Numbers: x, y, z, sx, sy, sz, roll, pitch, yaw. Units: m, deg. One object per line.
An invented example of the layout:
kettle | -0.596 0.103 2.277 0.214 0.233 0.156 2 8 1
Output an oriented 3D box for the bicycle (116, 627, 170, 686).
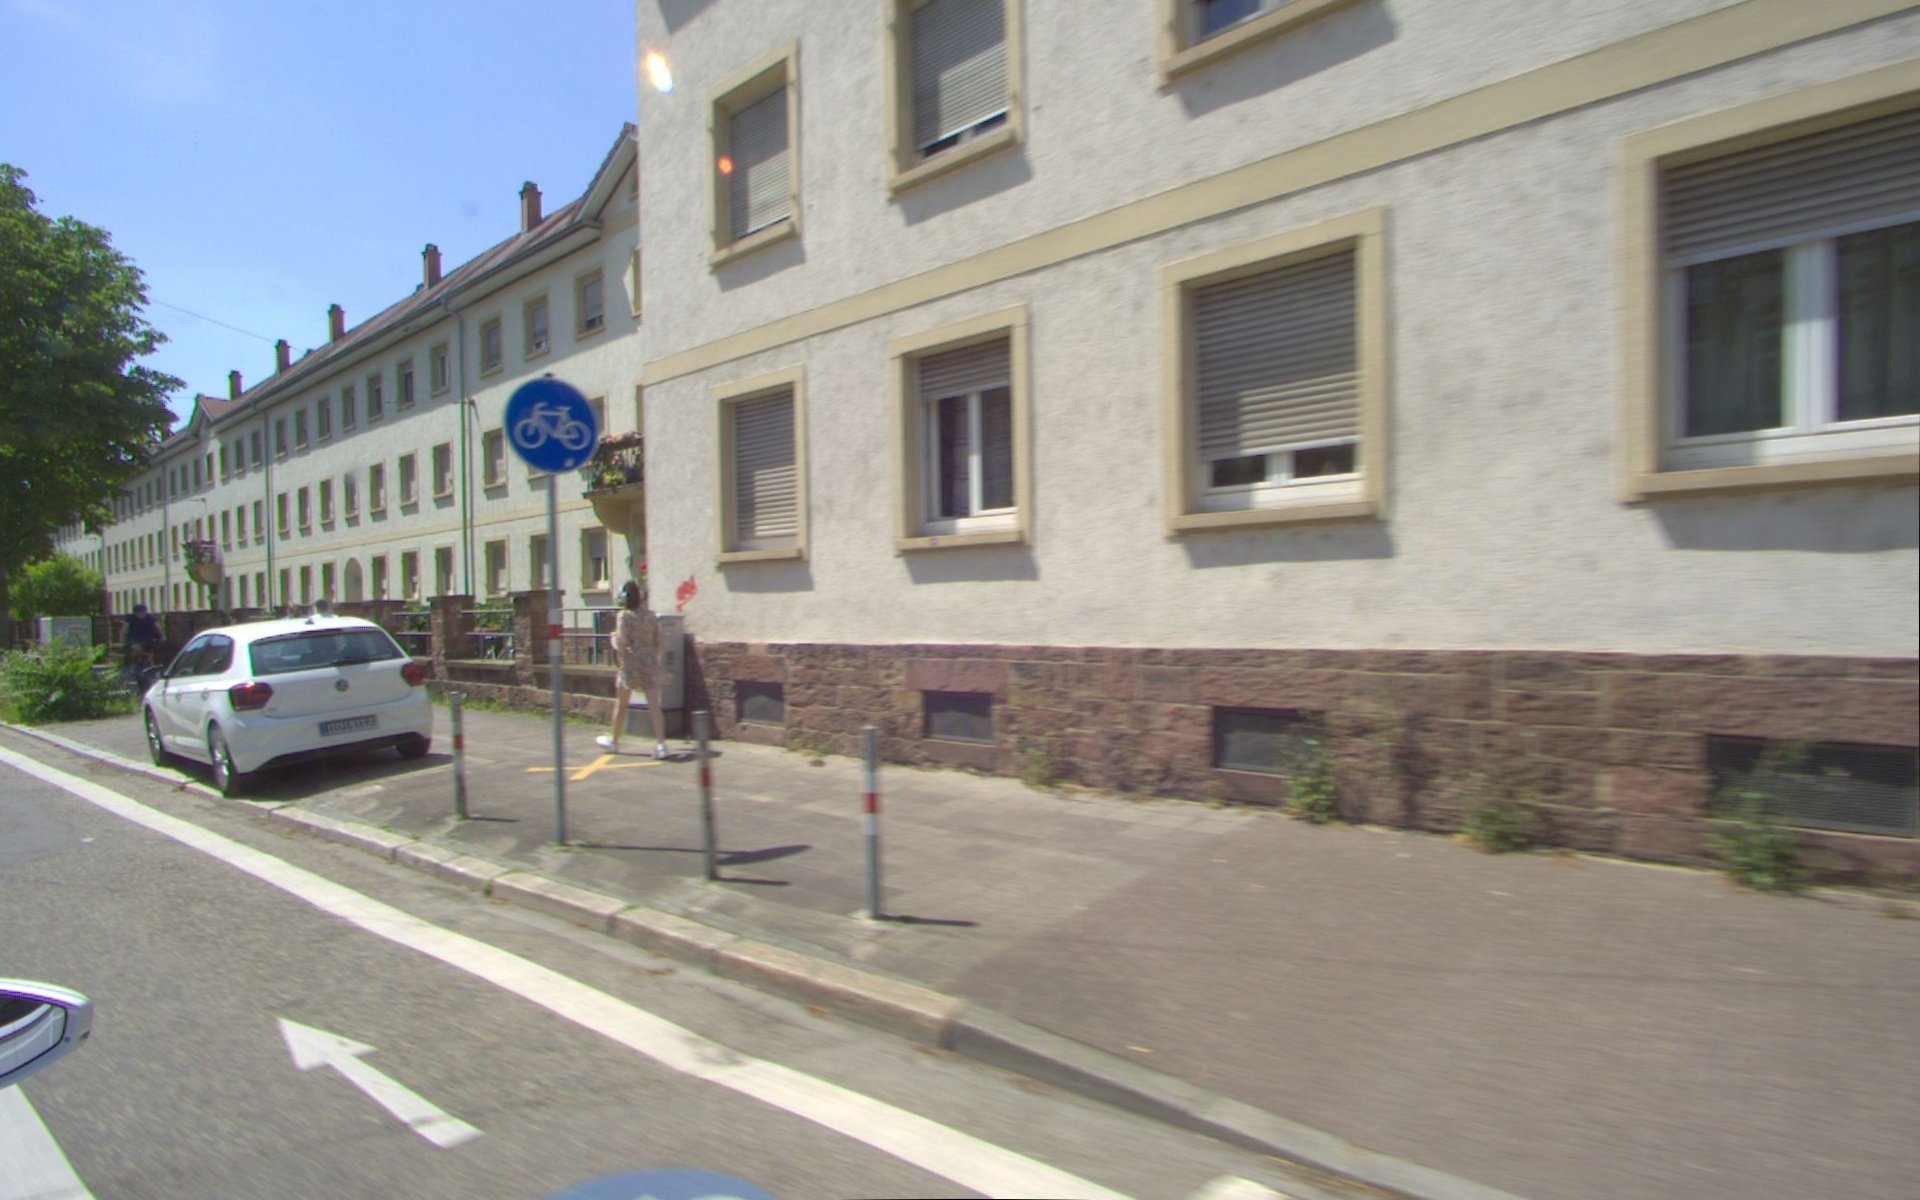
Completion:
bicycle | -15.823 1.072 19.382 1.803 1.065 0.598 -1 0 44

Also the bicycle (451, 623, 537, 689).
bicycle | -8.119 0.949 17.422 1.840 1.077 0.525 0 1 36

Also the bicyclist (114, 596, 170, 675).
bicyclist | -15.842 0.674 19.393 0.999 1.471 0.707 0 1 44

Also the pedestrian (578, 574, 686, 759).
pedestrian | -3.168 0.616 9.681 0.747 1.692 0.694 0 0 40

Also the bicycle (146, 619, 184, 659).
bicycle | -26.146 1.257 32.916 1.947 1.226 0.593 0 3 42

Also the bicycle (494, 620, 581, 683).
bicycle | -7.639 0.906 18.083 1.818 1.077 0.594 0 1 36

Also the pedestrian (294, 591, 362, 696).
pedestrian | -10.706 0.718 16.970 0.747 1.692 0.693 0 3 40

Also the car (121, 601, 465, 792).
car | -6.889 0.817 10.178 4.108 1.430 1.767 -1 4 41

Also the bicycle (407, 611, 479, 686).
bicycle | -8.772 0.792 16.960 0.593 1.191 1.735 -1 1 -45

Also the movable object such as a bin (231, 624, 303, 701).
movable object such as a bin | -11.612 1.022 16.781 1.024 1.202 0.693 0 3 41

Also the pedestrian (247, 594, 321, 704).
pedestrian | -10.905 0.771 16.151 0.859 1.692 0.693 0 3 41
